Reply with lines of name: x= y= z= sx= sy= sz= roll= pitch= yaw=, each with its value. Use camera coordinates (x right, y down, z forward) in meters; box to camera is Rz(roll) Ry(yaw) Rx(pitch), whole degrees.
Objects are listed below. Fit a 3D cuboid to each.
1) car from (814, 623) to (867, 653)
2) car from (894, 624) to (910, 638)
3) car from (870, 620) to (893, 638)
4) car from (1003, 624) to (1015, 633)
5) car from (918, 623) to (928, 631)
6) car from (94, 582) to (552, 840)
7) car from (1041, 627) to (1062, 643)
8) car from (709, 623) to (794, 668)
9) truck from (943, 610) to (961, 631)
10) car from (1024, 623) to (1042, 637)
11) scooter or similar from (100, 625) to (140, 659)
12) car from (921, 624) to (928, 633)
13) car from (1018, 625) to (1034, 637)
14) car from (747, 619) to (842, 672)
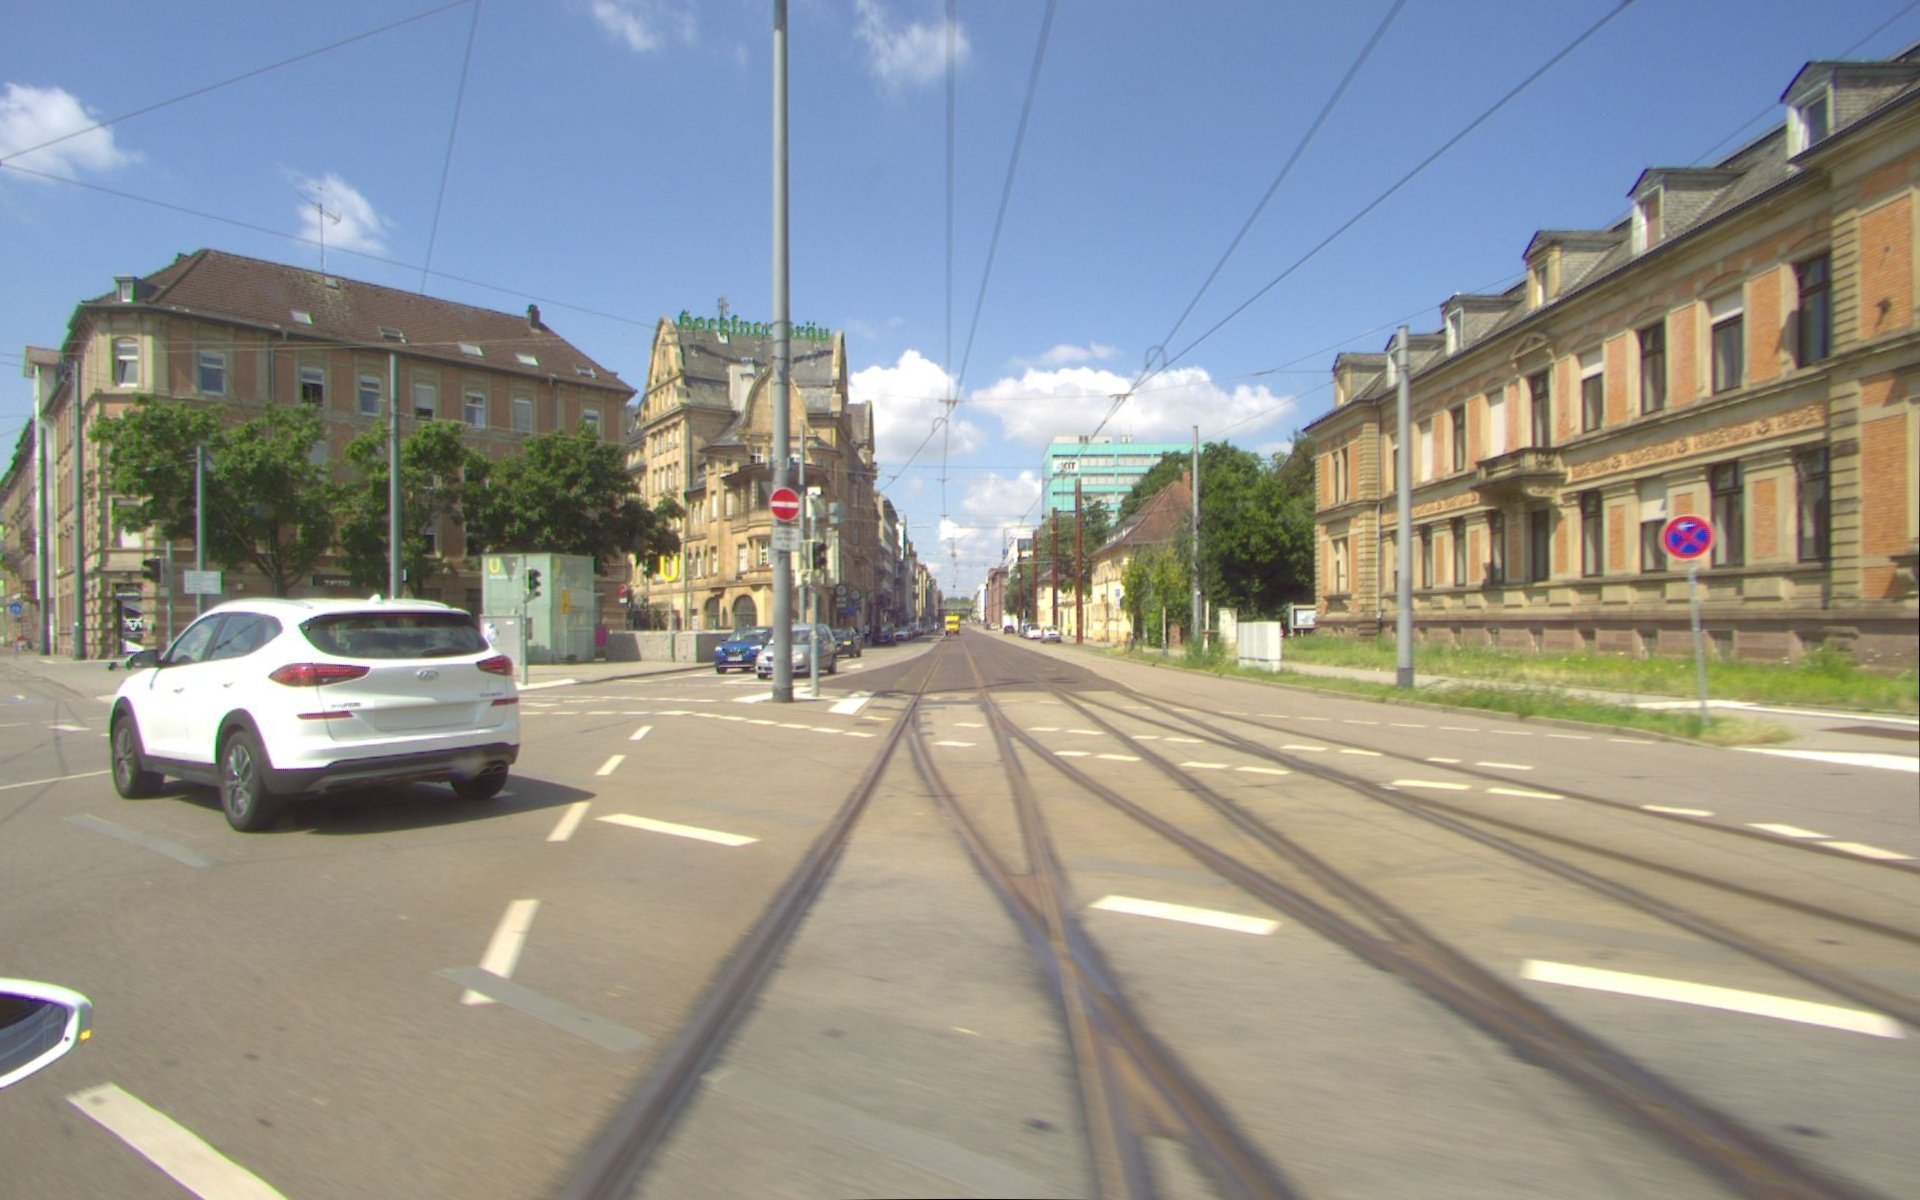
car: x=-6.152 y=1.955 z=51.967 sx=1.690 sy=1.493 sz=4.139 roll=0 pitch=-1 yaw=8
car: x=-6.350 y=3.383 z=110.294 sx=1.690 sy=1.493 sz=4.140 roll=0 pitch=-1 yaw=-1
car: x=-6.648 y=2.470 z=84.853 sx=1.690 sy=1.493 sz=4.140 roll=0 pitch=-1 yaw=-1
car: x=8.193 y=4.773 z=168.207 sx=1.906 sy=1.493 sz=4.264 roll=0 pitch=-1 yaw=1
car: x=-6.752 y=4.965 z=183.742 sx=1.690 sy=1.493 sz=4.140 roll=0 pitch=-1 yaw=-1
car: x=-5.481 y=0.755 z=8.447 sx=4.177 sy=1.662 sz=1.875 roll=-1 pitch=-1 yaw=36
car: x=8.595 y=3.283 z=94.565 sx=1.690 sy=1.493 sz=4.140 roll=0 pitch=-1 yaw=1
car: x=-7.357 y=1.582 z=35.732 sx=1.690 sy=1.493 sz=4.139 roll=0 pitch=-1 yaw=8
truck: x=-1.237 y=2.994 z=147.708 sx=2.513 sy=2.966 sz=7.111 roll=0 pitch=-1 yaw=-1
car: x=8.256 y=3.383 z=113.494 sx=1.906 sy=1.493 sz=4.264 roll=0 pitch=-1 yaw=1
scooter or similar: x=-30.803 y=1.545 z=36.723 sx=0.375 sy=1.188 sz=1.521 roll=0 pitch=-2 yaw=-9
car: x=-7.995 y=6.423 z=226.509 sx=1.690 sy=1.905 sz=4.140 roll=0 pitch=-1 yaw=-1
car: x=8.303 y=3.891 z=126.241 sx=1.906 sy=1.493 sz=4.264 roll=0 pitch=-1 yaw=1
car: x=-4.926 y=1.312 z=30.371 sx=1.690 sy=1.493 sz=4.139 roll=0 pitch=-1 yaw=8
